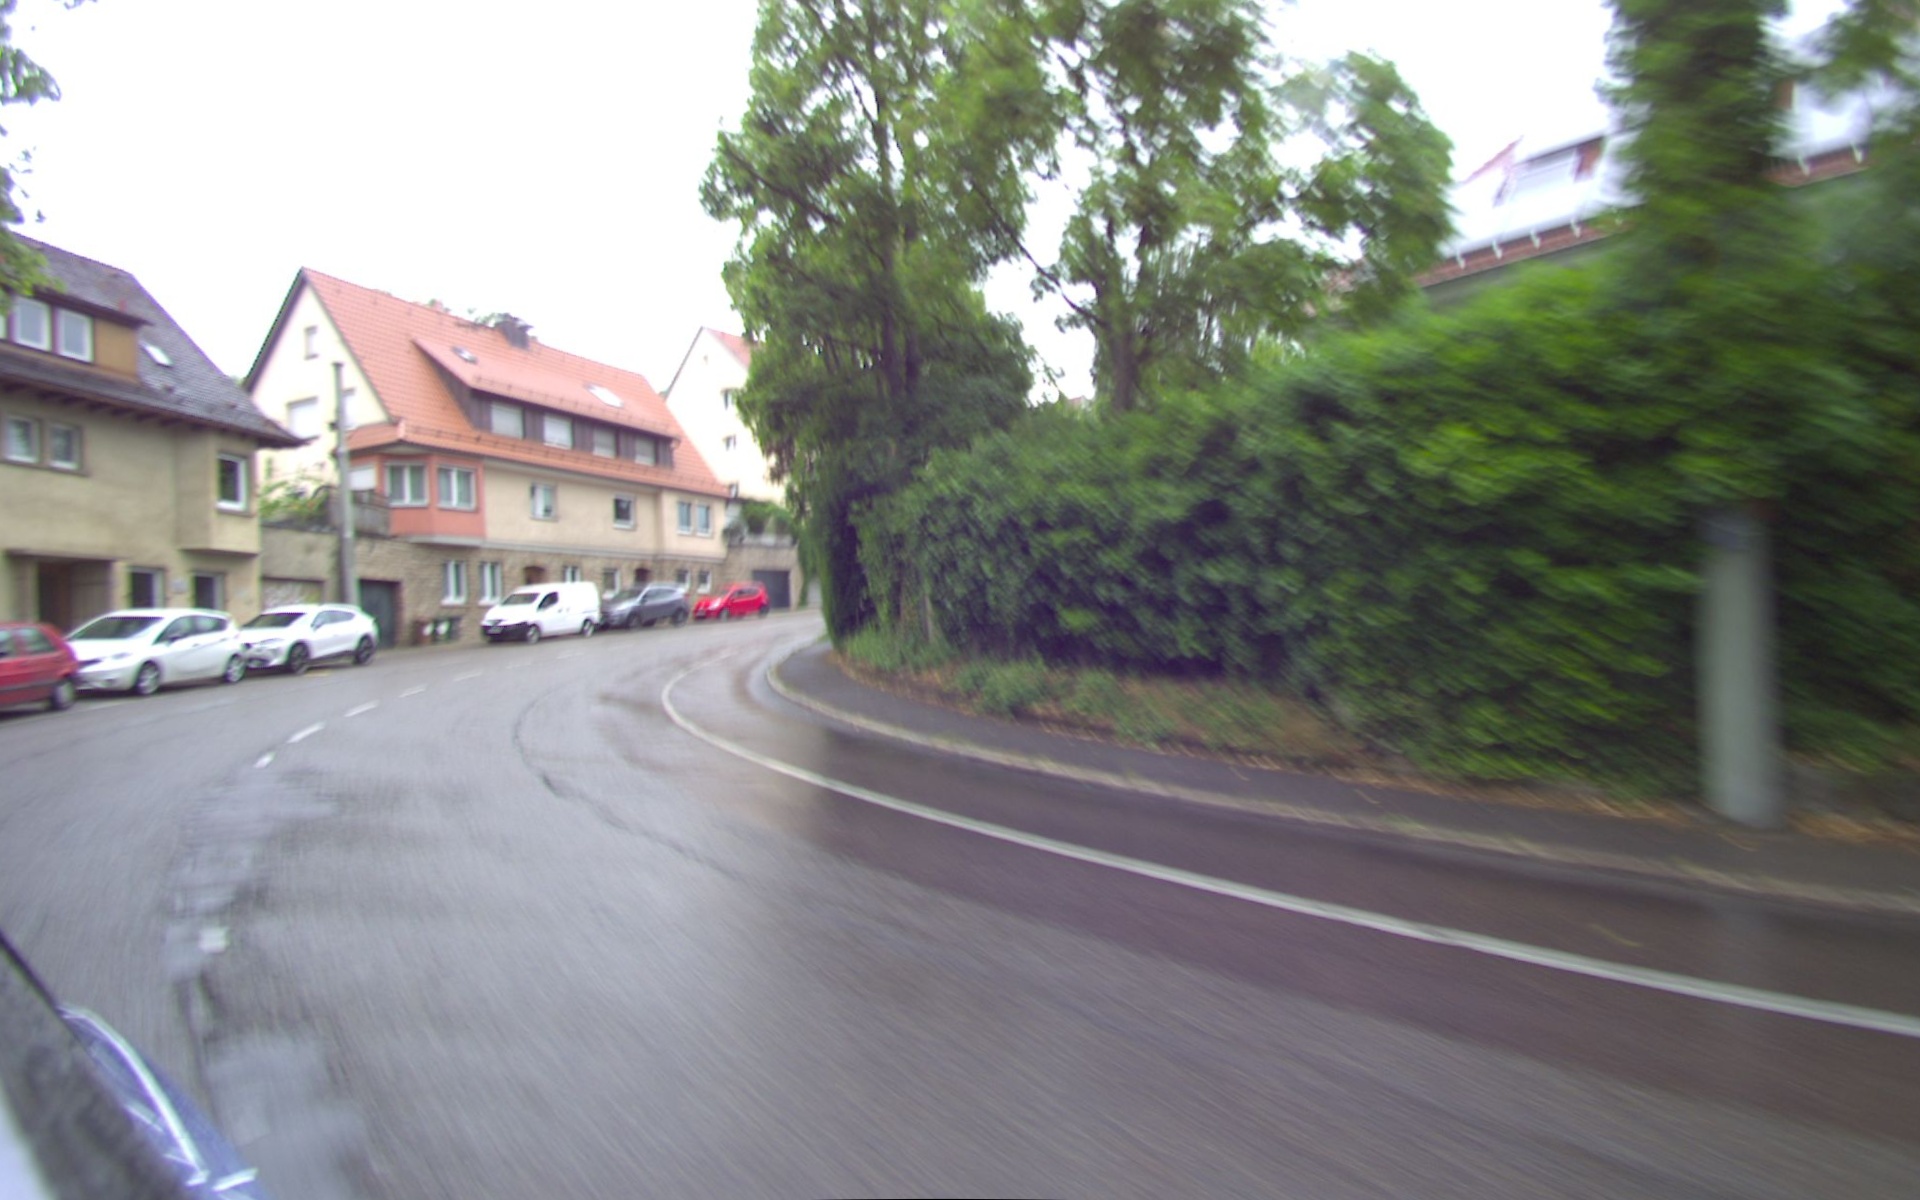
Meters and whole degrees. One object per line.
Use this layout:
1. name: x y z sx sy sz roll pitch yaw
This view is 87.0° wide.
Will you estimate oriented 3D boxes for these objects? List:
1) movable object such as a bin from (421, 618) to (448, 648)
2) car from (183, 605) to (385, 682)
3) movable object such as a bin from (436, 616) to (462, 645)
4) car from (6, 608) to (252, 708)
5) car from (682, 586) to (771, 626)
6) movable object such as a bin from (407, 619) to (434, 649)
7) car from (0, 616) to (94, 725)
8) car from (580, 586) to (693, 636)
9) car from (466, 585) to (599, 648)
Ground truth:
1. movable object such as a bin: -17.311 1.082 33.353 0.578 0.929 0.509 0 2 24
2. car: -15.586 0.929 23.666 1.892 1.550 4.417 -1 0 -2
3. movable object such as a bin: -17.095 1.001 33.846 0.578 0.929 0.509 0 2 24
4. car: -15.235 0.988 18.847 1.743 1.526 3.830 -2 1 -7
5. car: -10.005 0.242 43.582 1.615 1.446 3.543 -2 3 32
6. movable object such as a bin: -17.520 1.107 32.842 0.578 0.929 0.509 0 2 24
7. car: -14.078 1.028 13.982 1.755 1.377 4.210 -2 2 -19
8. car: -12.345 0.387 38.896 1.610 1.616 4.377 -2 2 24
9. car: -14.334 0.516 34.212 1.696 1.804 4.302 -4 1 17
